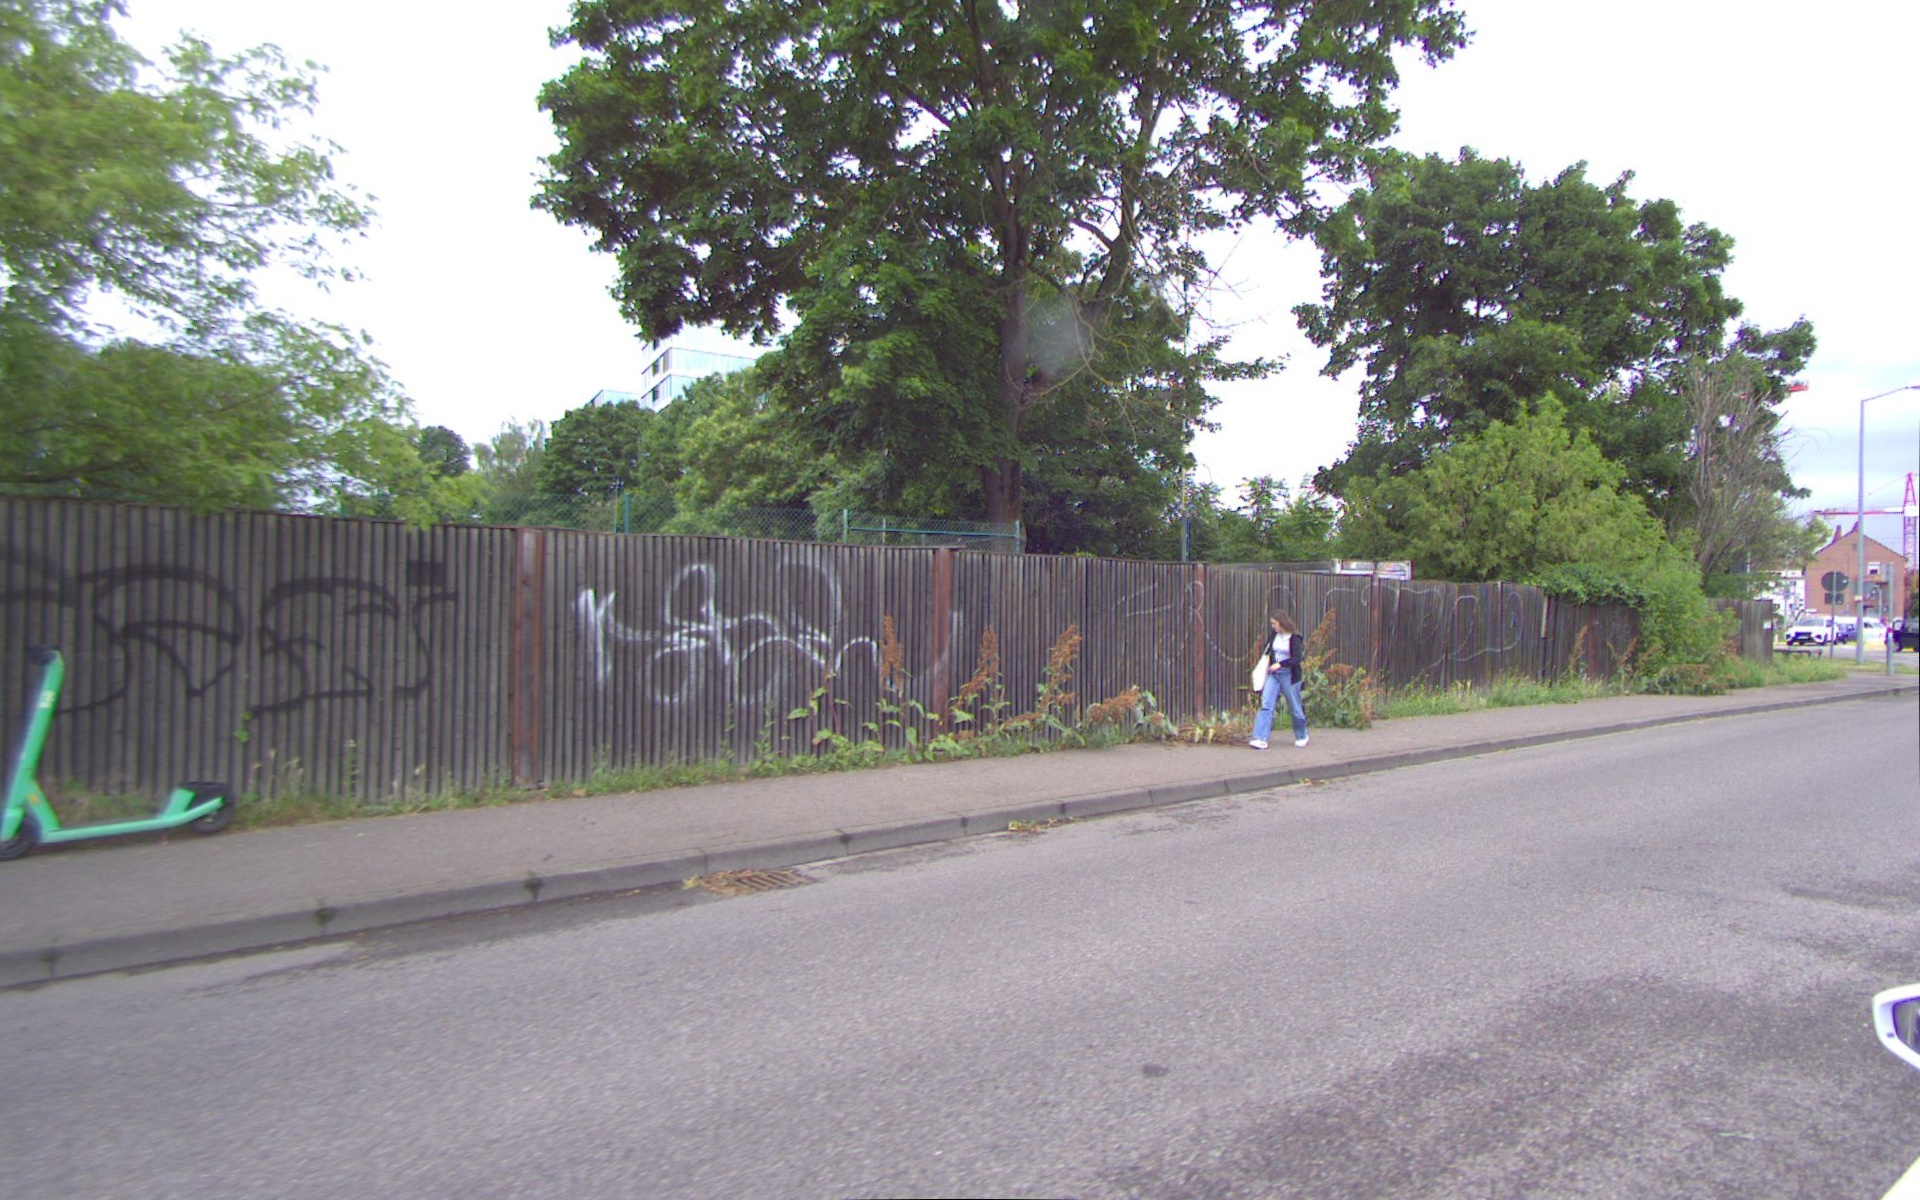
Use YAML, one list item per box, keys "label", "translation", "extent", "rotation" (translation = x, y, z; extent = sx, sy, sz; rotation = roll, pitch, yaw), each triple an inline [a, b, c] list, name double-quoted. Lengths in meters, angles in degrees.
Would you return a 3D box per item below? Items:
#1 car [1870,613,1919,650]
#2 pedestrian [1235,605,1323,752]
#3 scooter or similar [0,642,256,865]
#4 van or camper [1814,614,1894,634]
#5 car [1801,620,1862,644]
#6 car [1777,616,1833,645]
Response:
- label: "car"
  translation: [47.939, 1.563, 49.474]
  extent: [2.046, 1.838, 4.189]
  rotation: [1, -1, -20]
- label: "pedestrian"
  translation: [3.523, 0.837, 11.092]
  extent: [0.717, 1.549, 0.608]
  rotation: [1, 0, -35]
- label: "scooter or similar"
  translation: [-4.932, 0.850, 5.900]
  extent: [1.291, 1.186, 0.420]
  rotation: [1, 0, -37]
- label: "van or camper"
  translation: [95.492, 2.587, 107.395]
  extent: [1.969, 2.040, 6.169]
  rotation: [1, -1, -20]
- label: "car"
  translation: [57.524, 2.084, 66.324]
  extent: [3.954, 1.509, 1.921]
  rotation: [1, -1, -31]
- label: "car"
  translation: [52.308, 1.882, 62.143]
  extent: [4.153, 1.706, 1.915]
  rotation: [1, -1, -39]
